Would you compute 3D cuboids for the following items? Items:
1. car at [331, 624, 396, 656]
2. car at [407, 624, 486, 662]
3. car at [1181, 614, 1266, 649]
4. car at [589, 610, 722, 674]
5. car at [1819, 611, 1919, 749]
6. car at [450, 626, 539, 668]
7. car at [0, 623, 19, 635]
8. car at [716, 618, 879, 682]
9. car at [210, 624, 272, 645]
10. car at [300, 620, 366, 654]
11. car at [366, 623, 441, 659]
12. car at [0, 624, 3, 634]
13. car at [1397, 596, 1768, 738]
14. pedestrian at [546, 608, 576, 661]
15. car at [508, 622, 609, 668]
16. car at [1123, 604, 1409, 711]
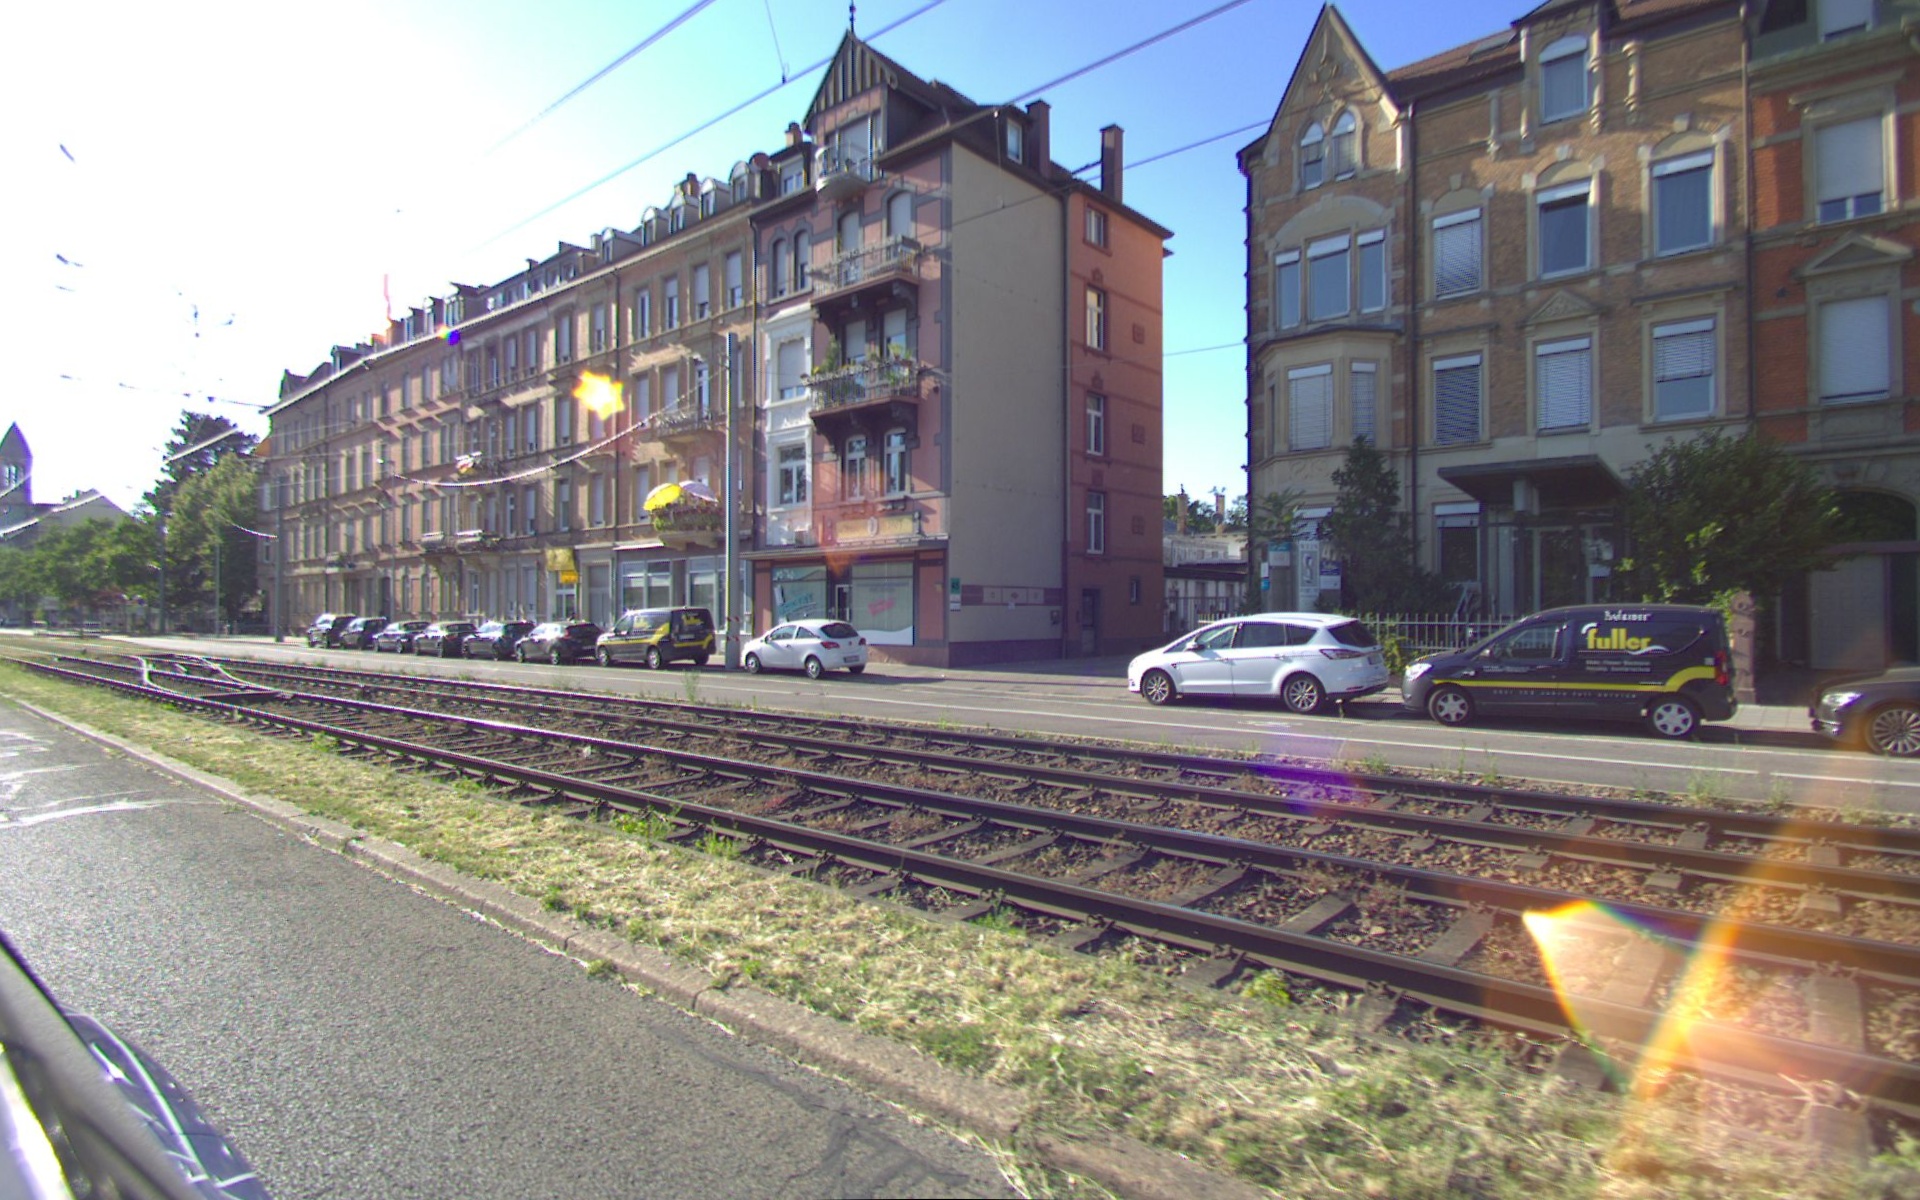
[{"bbox_3d":[-29.178,1.927,49.458,3.764,1.456,1.642,-1,0,42],"label":"car"},{"bbox_3d":[-21.636,1.778,42.581,3.979,1.456,1.642,-1,0,42],"label":"car"},{"bbox_3d":[12.009,1.439,46.365,1.769,1.522,4.013,1,-2,-21],"label":"car"},{"bbox_3d":[-9.582,1.259,31.625,4.725,1.821,1.643,-1,0,40],"label":"car"},{"bbox_3d":[13.041,0.924,11.593,4.839,1.572,1.901,-1,0,41],"label":"car"},{"bbox_3d":[-17.875,1.749,38.812,3.979,1.456,1.642,-1,0,42],"label":"car"},{"bbox_3d":[-132.138,4.024,140.421,3.996,1.522,1.776,-1,-2,40],"label":"car"},{"bbox_3d":[-4.504,1.293,27.652,4.626,1.550,1.900,-1,0,42],"label":"car"},{"bbox_3d":[-59.482,2.845,83.820,3.931,1.521,1.806,-1,1,-28],"label":"car"},{"bbox_3d":[-32.457,1.871,52.331,4.631,1.655,1.774,-1,0,44],"label":"car"},{"bbox_3d":[-25.149,1.821,45.659,4.195,1.456,1.642,-1,0,42],"label":"car"},{"bbox_3d":[-140.328,4.196,146.719,3.996,1.522,1.776,-1,-2,40],"label":"car"},{"bbox_3d":[9.178,0.900,15.175,4.491,1.794,1.903,-1,0,37],"label":"car"},{"bbox_3d":[-15.727,1.355,39.865,0.868,2.029,0.634,-1,1,12],"label":"pedestrian"},{"bbox_3d":[-13.985,1.527,35.172,3.979,1.456,1.642,-1,0,42],"label":"car"},{"bbox_3d":[5.497,0.985,18.557,4.626,1.696,1.900,-2,-1,42],"label":"car"}]
